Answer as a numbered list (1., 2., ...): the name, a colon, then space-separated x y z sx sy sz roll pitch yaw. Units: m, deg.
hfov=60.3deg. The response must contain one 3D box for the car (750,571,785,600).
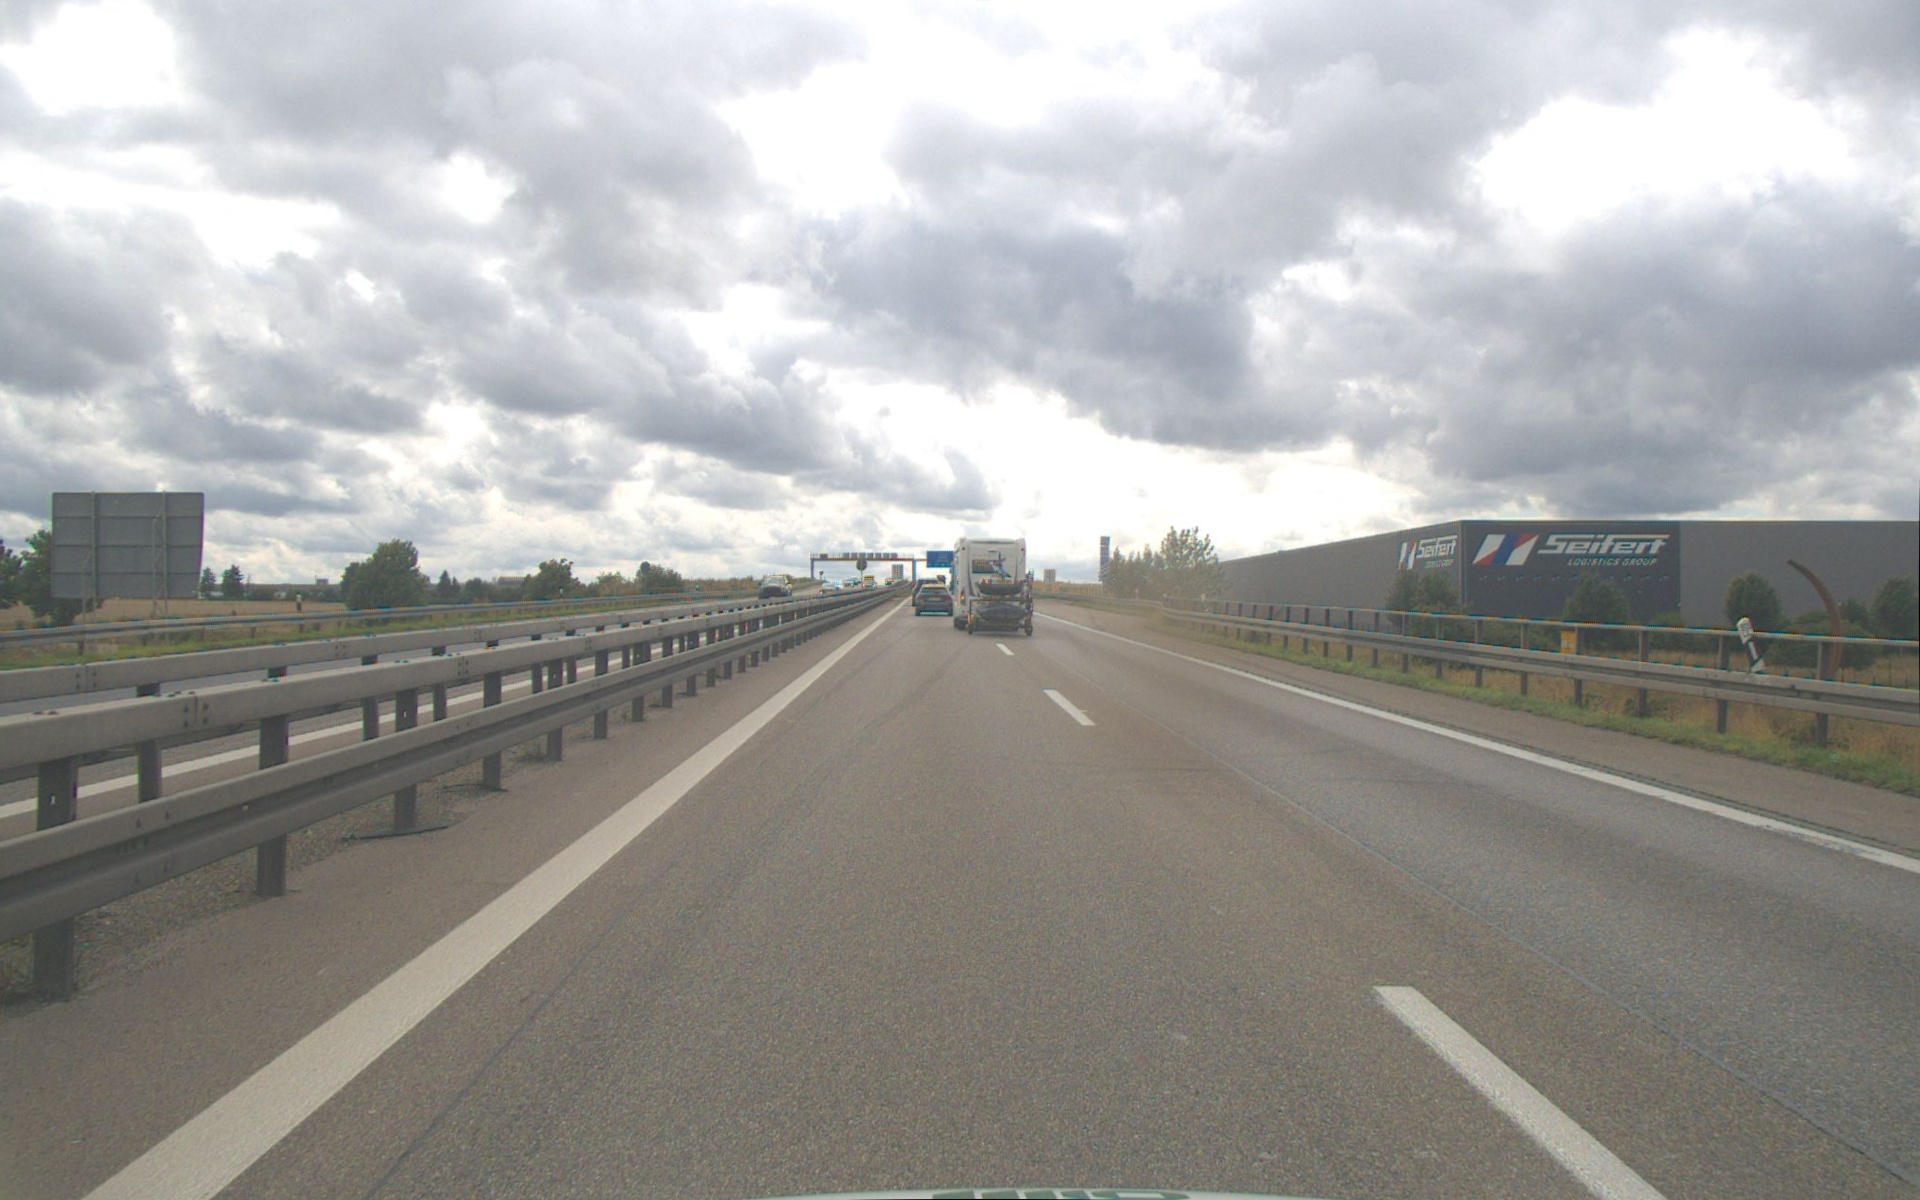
1. car: -13.835 -1.073 119.430 1.953 2.049 6.100 0 1 -1

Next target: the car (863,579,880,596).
1. car: -10.975 -1.511 205.188 1.954 2.049 4.382 1 1 -3

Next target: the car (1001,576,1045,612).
1. car: 2.959 -0.282 78.661 1.844 1.649 3.999 0 -1 -1

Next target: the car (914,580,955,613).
1. car: -1.164 -0.143 77.308 1.710 1.478 4.001 0 -1 2

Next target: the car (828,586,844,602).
1. car: -16.000 -0.800 213.030 1.954 2.049 4.381 0 -1 -3

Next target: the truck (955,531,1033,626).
1. truck: 1.077 -0.670 55.531 2.431 3.002 5.814 0 -1 0

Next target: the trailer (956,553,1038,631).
1. trailer: 1.100 -0.202 48.362 2.290 2.174 4.001 0 -1 1

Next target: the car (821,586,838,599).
1. car: -14.925 -0.887 188.869 1.721 1.494 4.558 1 1 -2
